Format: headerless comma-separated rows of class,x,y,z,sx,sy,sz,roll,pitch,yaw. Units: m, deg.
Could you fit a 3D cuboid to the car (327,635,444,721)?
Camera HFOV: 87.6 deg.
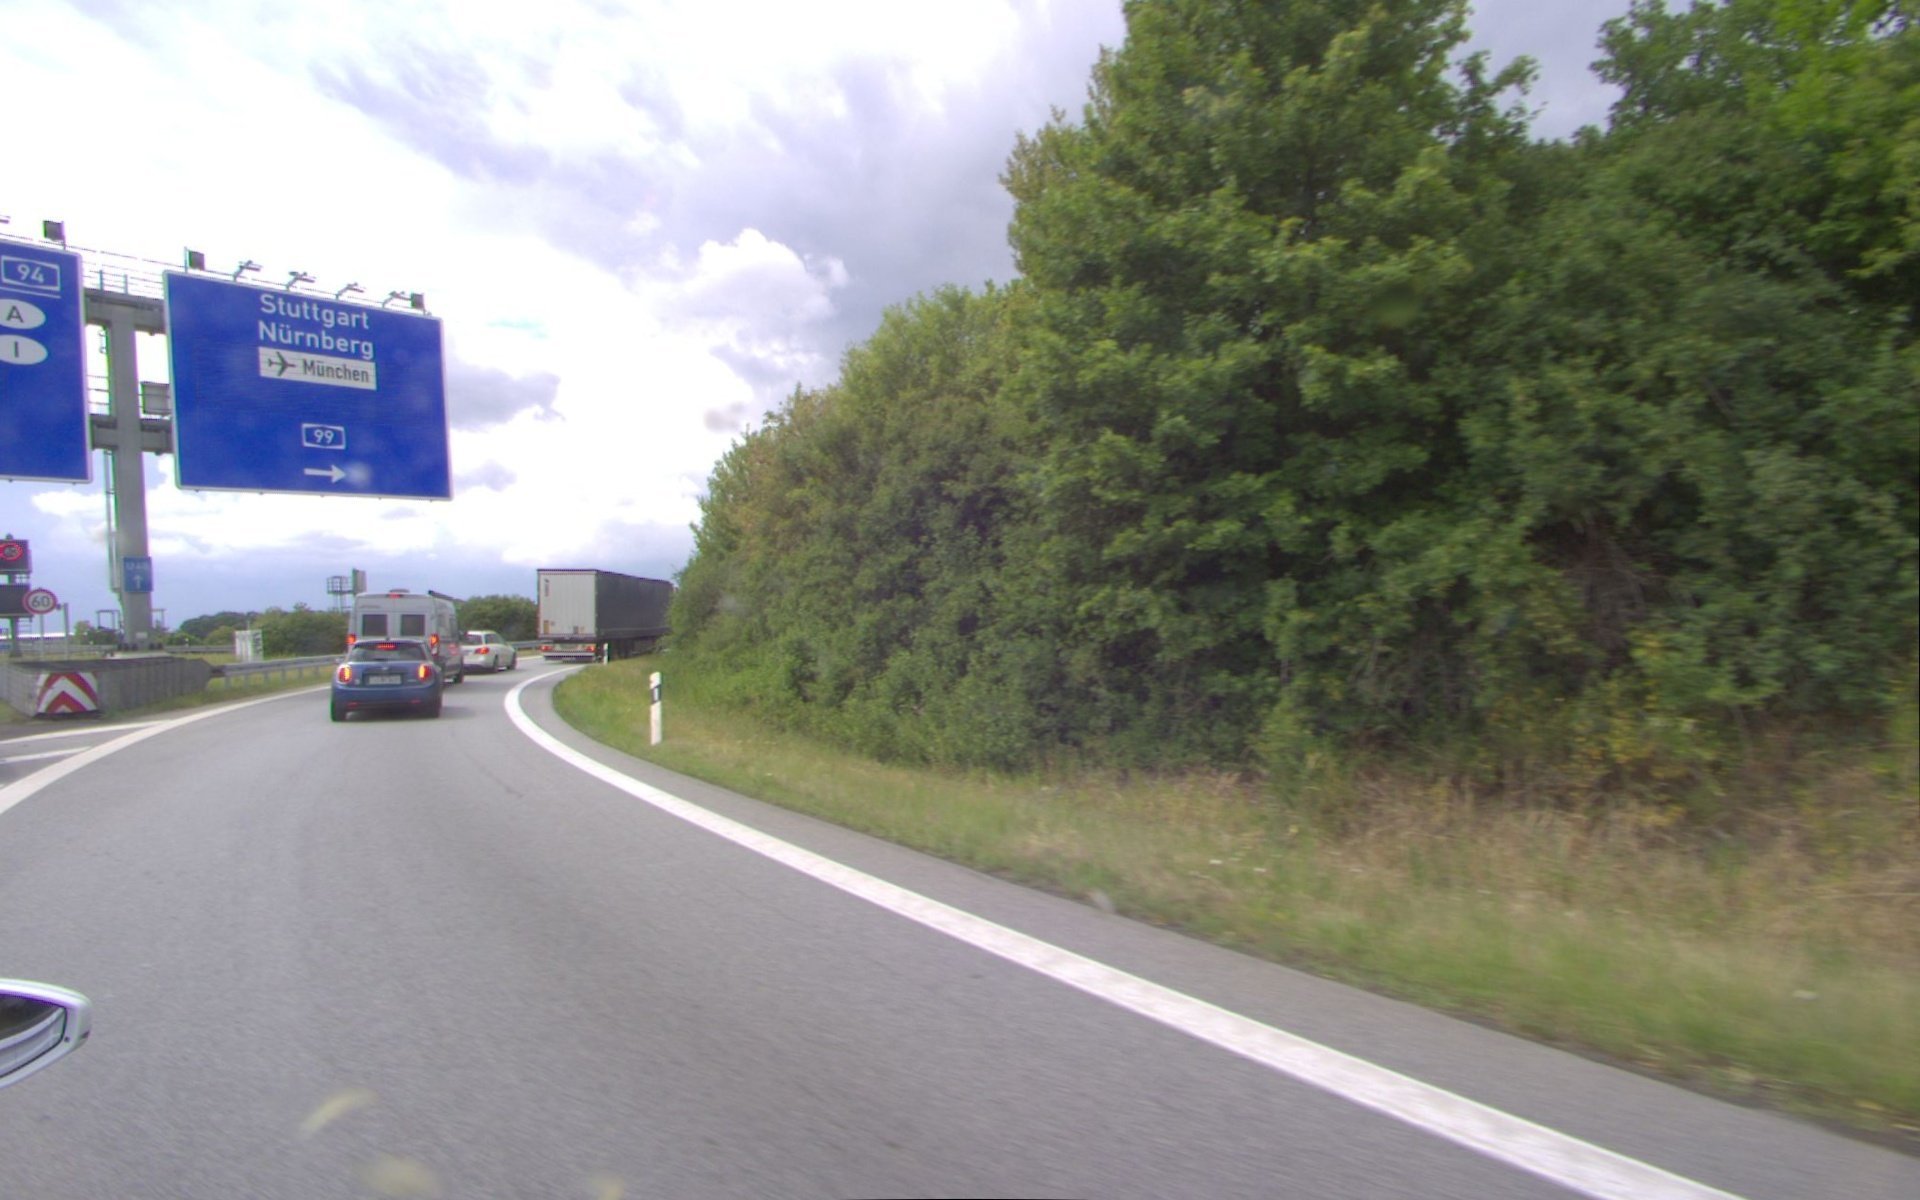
car,-10.798,1.393,19.025,1.708,1.437,3.652,0,-2,-26

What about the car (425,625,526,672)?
car,-17.441,1.701,36.294,2.172,1.521,4.783,-1,-1,-12

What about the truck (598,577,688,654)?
truck,-18.088,0.916,57.620,3.305,4.148,6.790,-1,-1,-3

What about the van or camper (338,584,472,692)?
van or camper,-15.120,0.982,27.679,2.262,2.602,6.146,-1,-1,-20

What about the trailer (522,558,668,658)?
trailer,-17.527,0.486,49.470,3.276,4.247,13.034,-1,-1,-4

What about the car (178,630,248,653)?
car,-60.414,3.336,81.072,4.164,1.795,2.000,-1,-1,0
